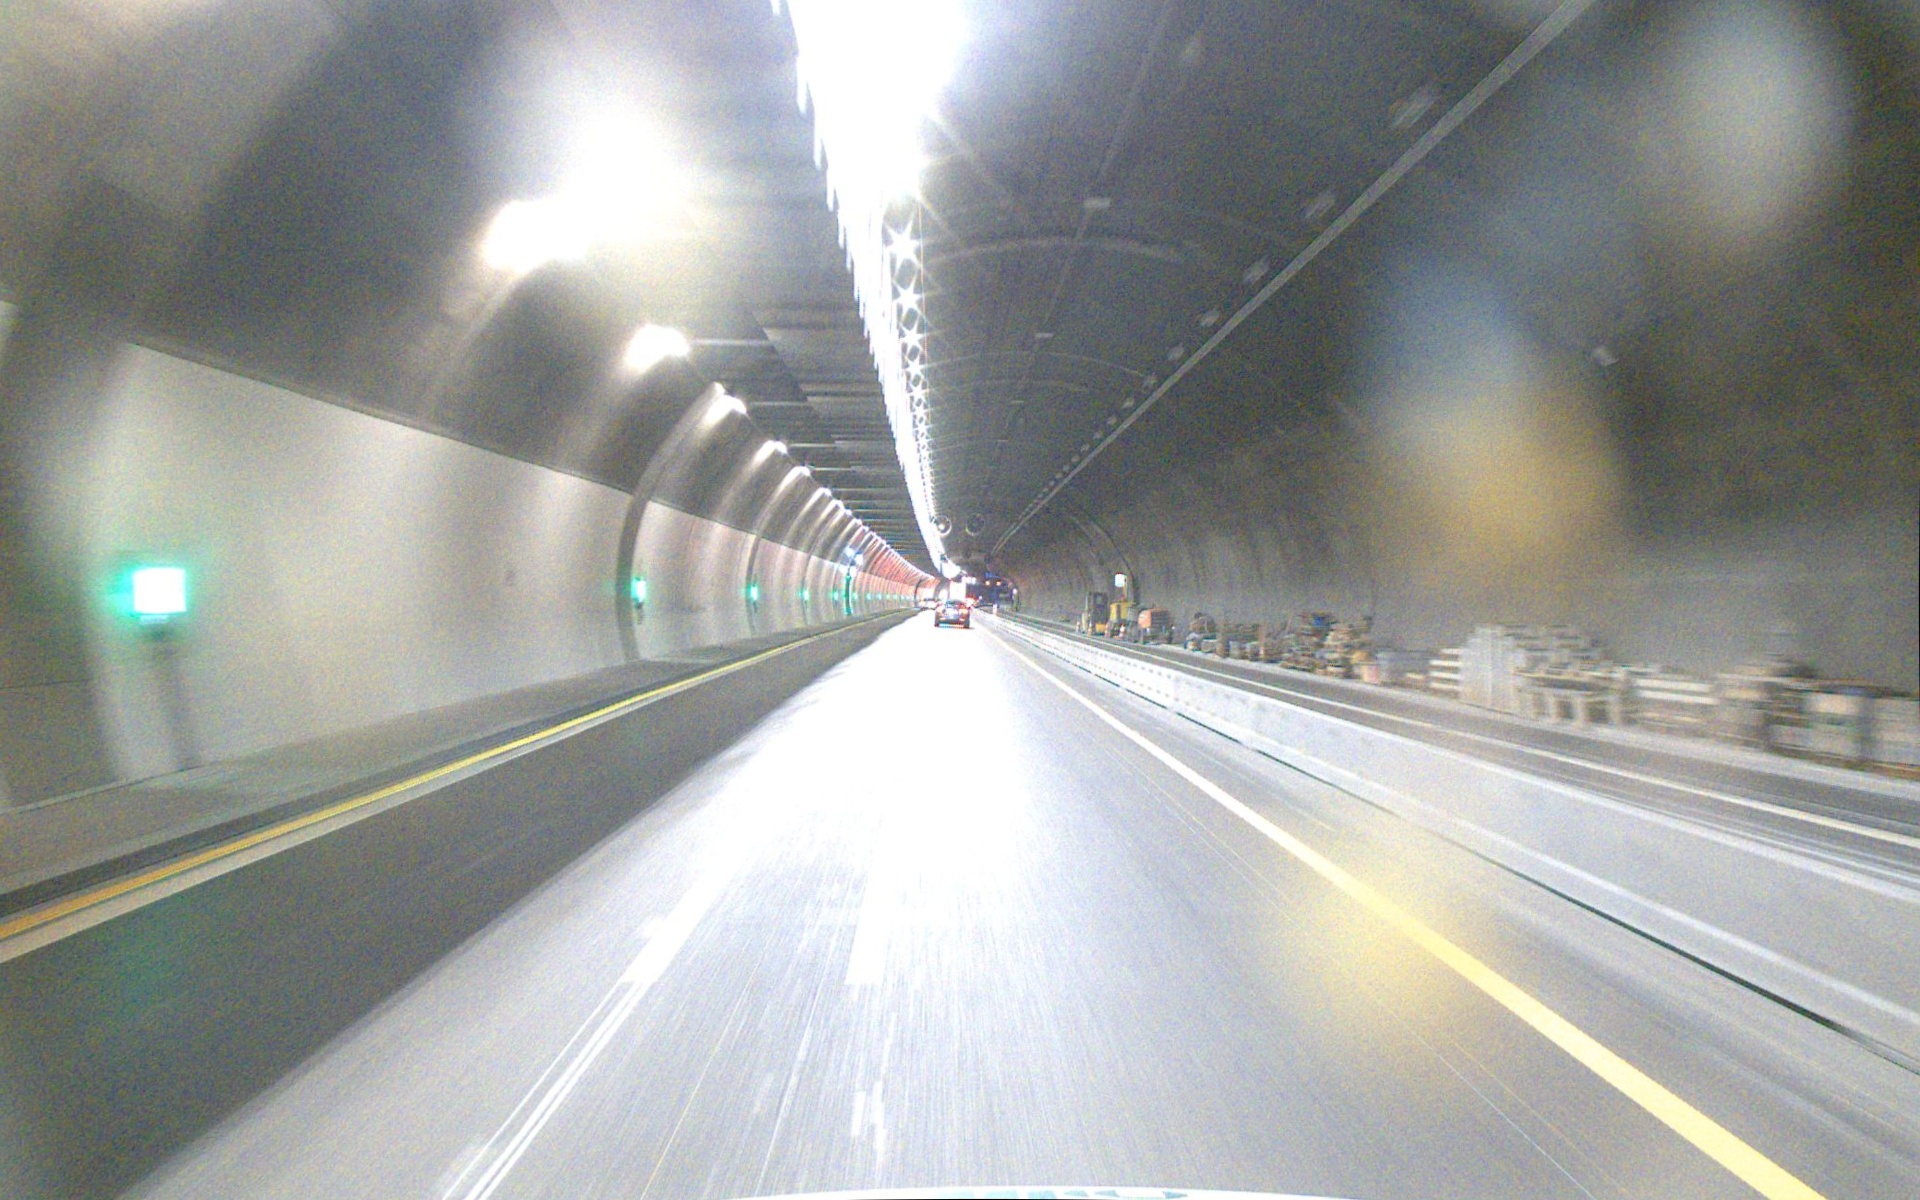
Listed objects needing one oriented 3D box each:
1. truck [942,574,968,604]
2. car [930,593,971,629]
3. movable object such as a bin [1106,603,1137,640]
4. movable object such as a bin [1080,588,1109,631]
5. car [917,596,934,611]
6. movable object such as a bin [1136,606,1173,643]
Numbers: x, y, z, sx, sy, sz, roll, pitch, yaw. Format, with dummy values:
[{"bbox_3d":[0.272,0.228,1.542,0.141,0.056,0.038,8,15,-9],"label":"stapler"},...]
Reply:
[{"bbox_3d":[-0.894,-1.677,264.252,3.983,4.612,14.963,0,0,-1],"label":"truck"},{"bbox_3d":[-0.520,0.554,86.614,1.908,1.826,3.997,-1,0,-3],"label":"car"},{"bbox_3d":[7.744,1.022,79.553,1.209,1.748,2.216,1,0,-1],"label":"movable object such as a bin"},{"bbox_3d":[7.004,0.497,86.258,1.209,2.178,2.216,1,0,-1],"label":"movable object such as a bin"},{"bbox_3d":[-4.056,0.389,196.296,1.890,1.716,4.000,-1,0,0],"label":"car"},{"bbox_3d":[8.026,0.986,68.284,1.209,1.467,2.216,1,0,-1],"label":"movable object such as a bin"}]
